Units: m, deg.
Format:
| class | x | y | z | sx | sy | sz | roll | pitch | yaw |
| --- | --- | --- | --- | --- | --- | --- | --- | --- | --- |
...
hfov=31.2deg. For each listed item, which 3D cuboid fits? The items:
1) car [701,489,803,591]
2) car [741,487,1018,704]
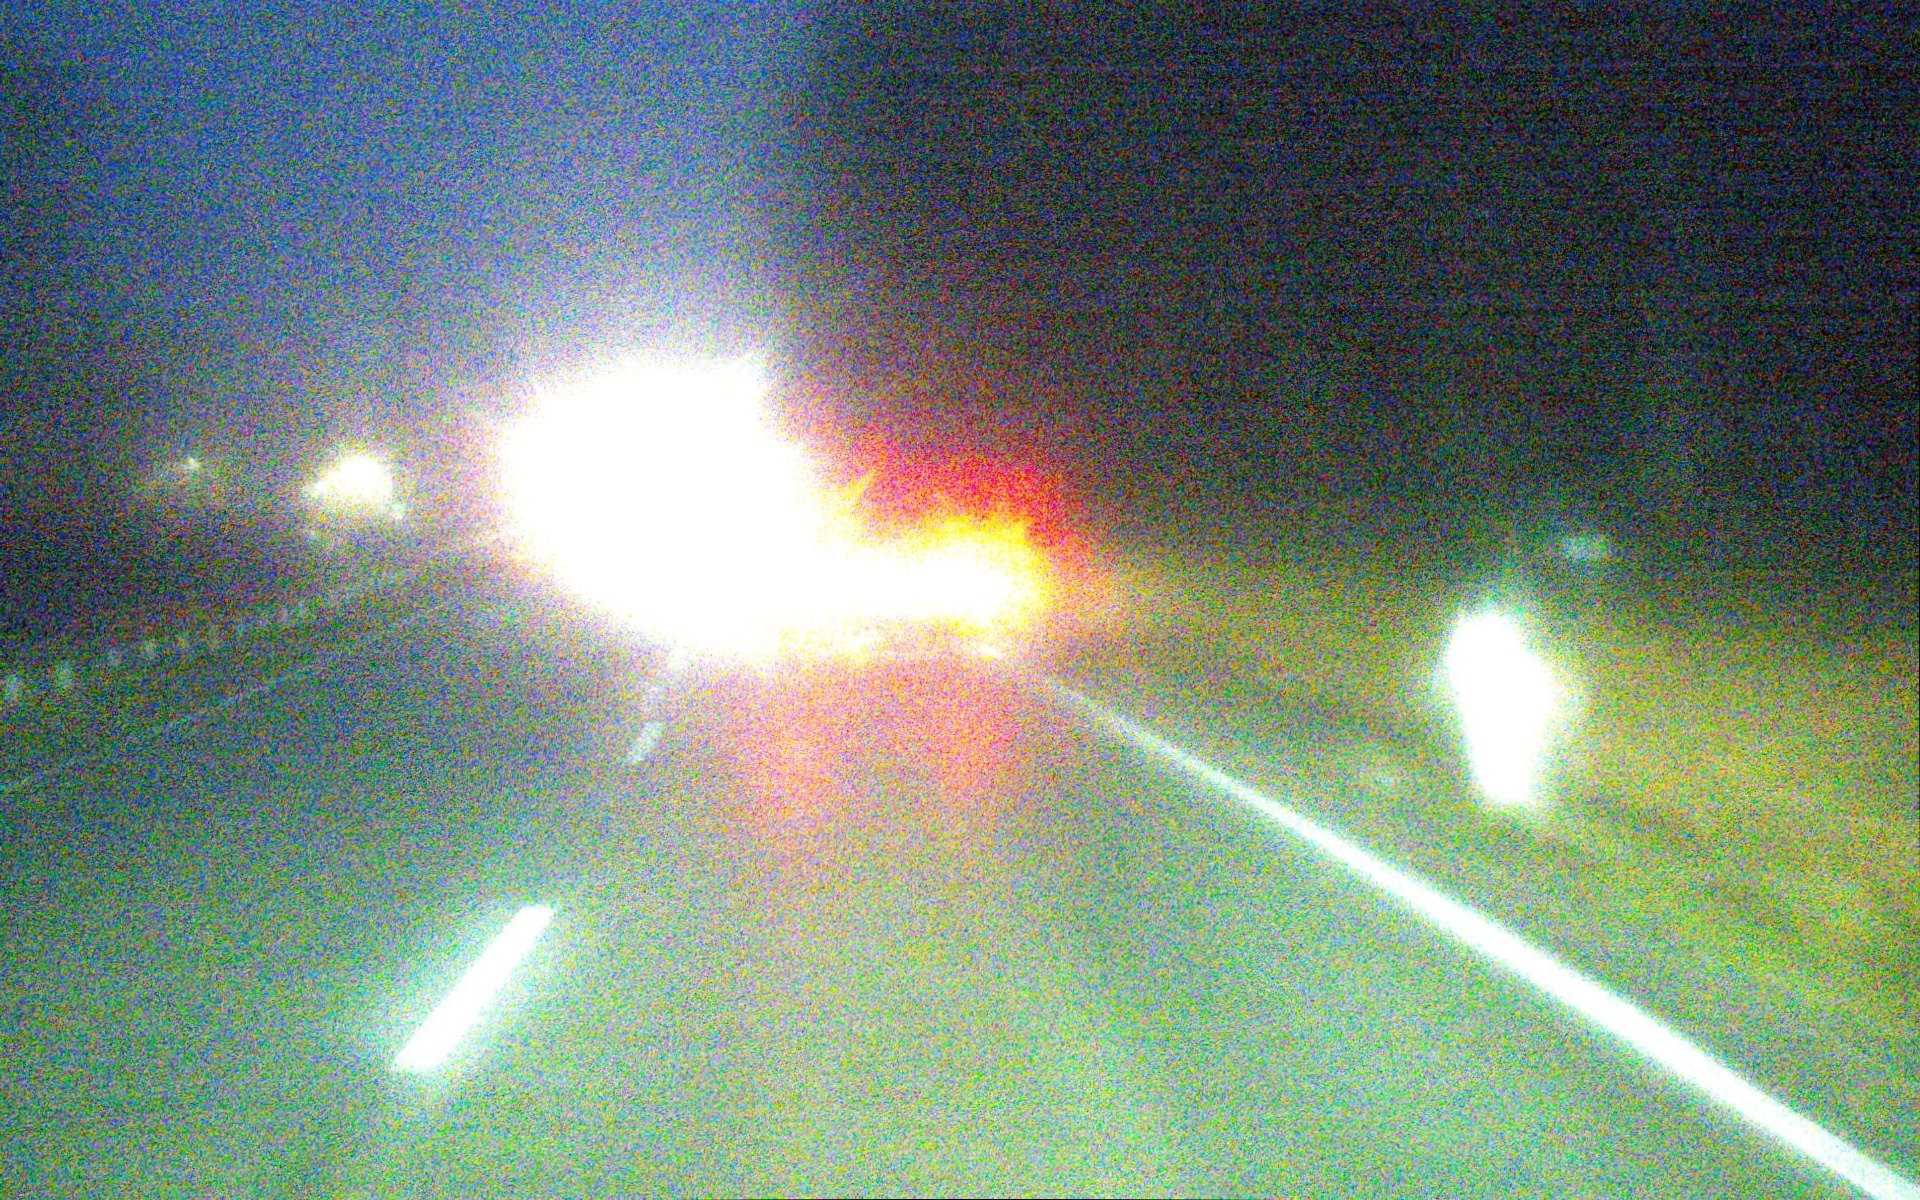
| class | x | y | z | sx | sy | sz | roll | pitch | yaw |
| --- | --- | --- | --- | --- | --- | --- | --- | --- | --- |
| car | -4.369 | -1.248 | 71.745 | 1.993 | 2.007 | 4.001 | 2 | 1 | -4 |
| car | -0.878 | -0.086 | 33.448 | 2.457 | 1.952 | 4.912 | 0 | 1 | -4 |
